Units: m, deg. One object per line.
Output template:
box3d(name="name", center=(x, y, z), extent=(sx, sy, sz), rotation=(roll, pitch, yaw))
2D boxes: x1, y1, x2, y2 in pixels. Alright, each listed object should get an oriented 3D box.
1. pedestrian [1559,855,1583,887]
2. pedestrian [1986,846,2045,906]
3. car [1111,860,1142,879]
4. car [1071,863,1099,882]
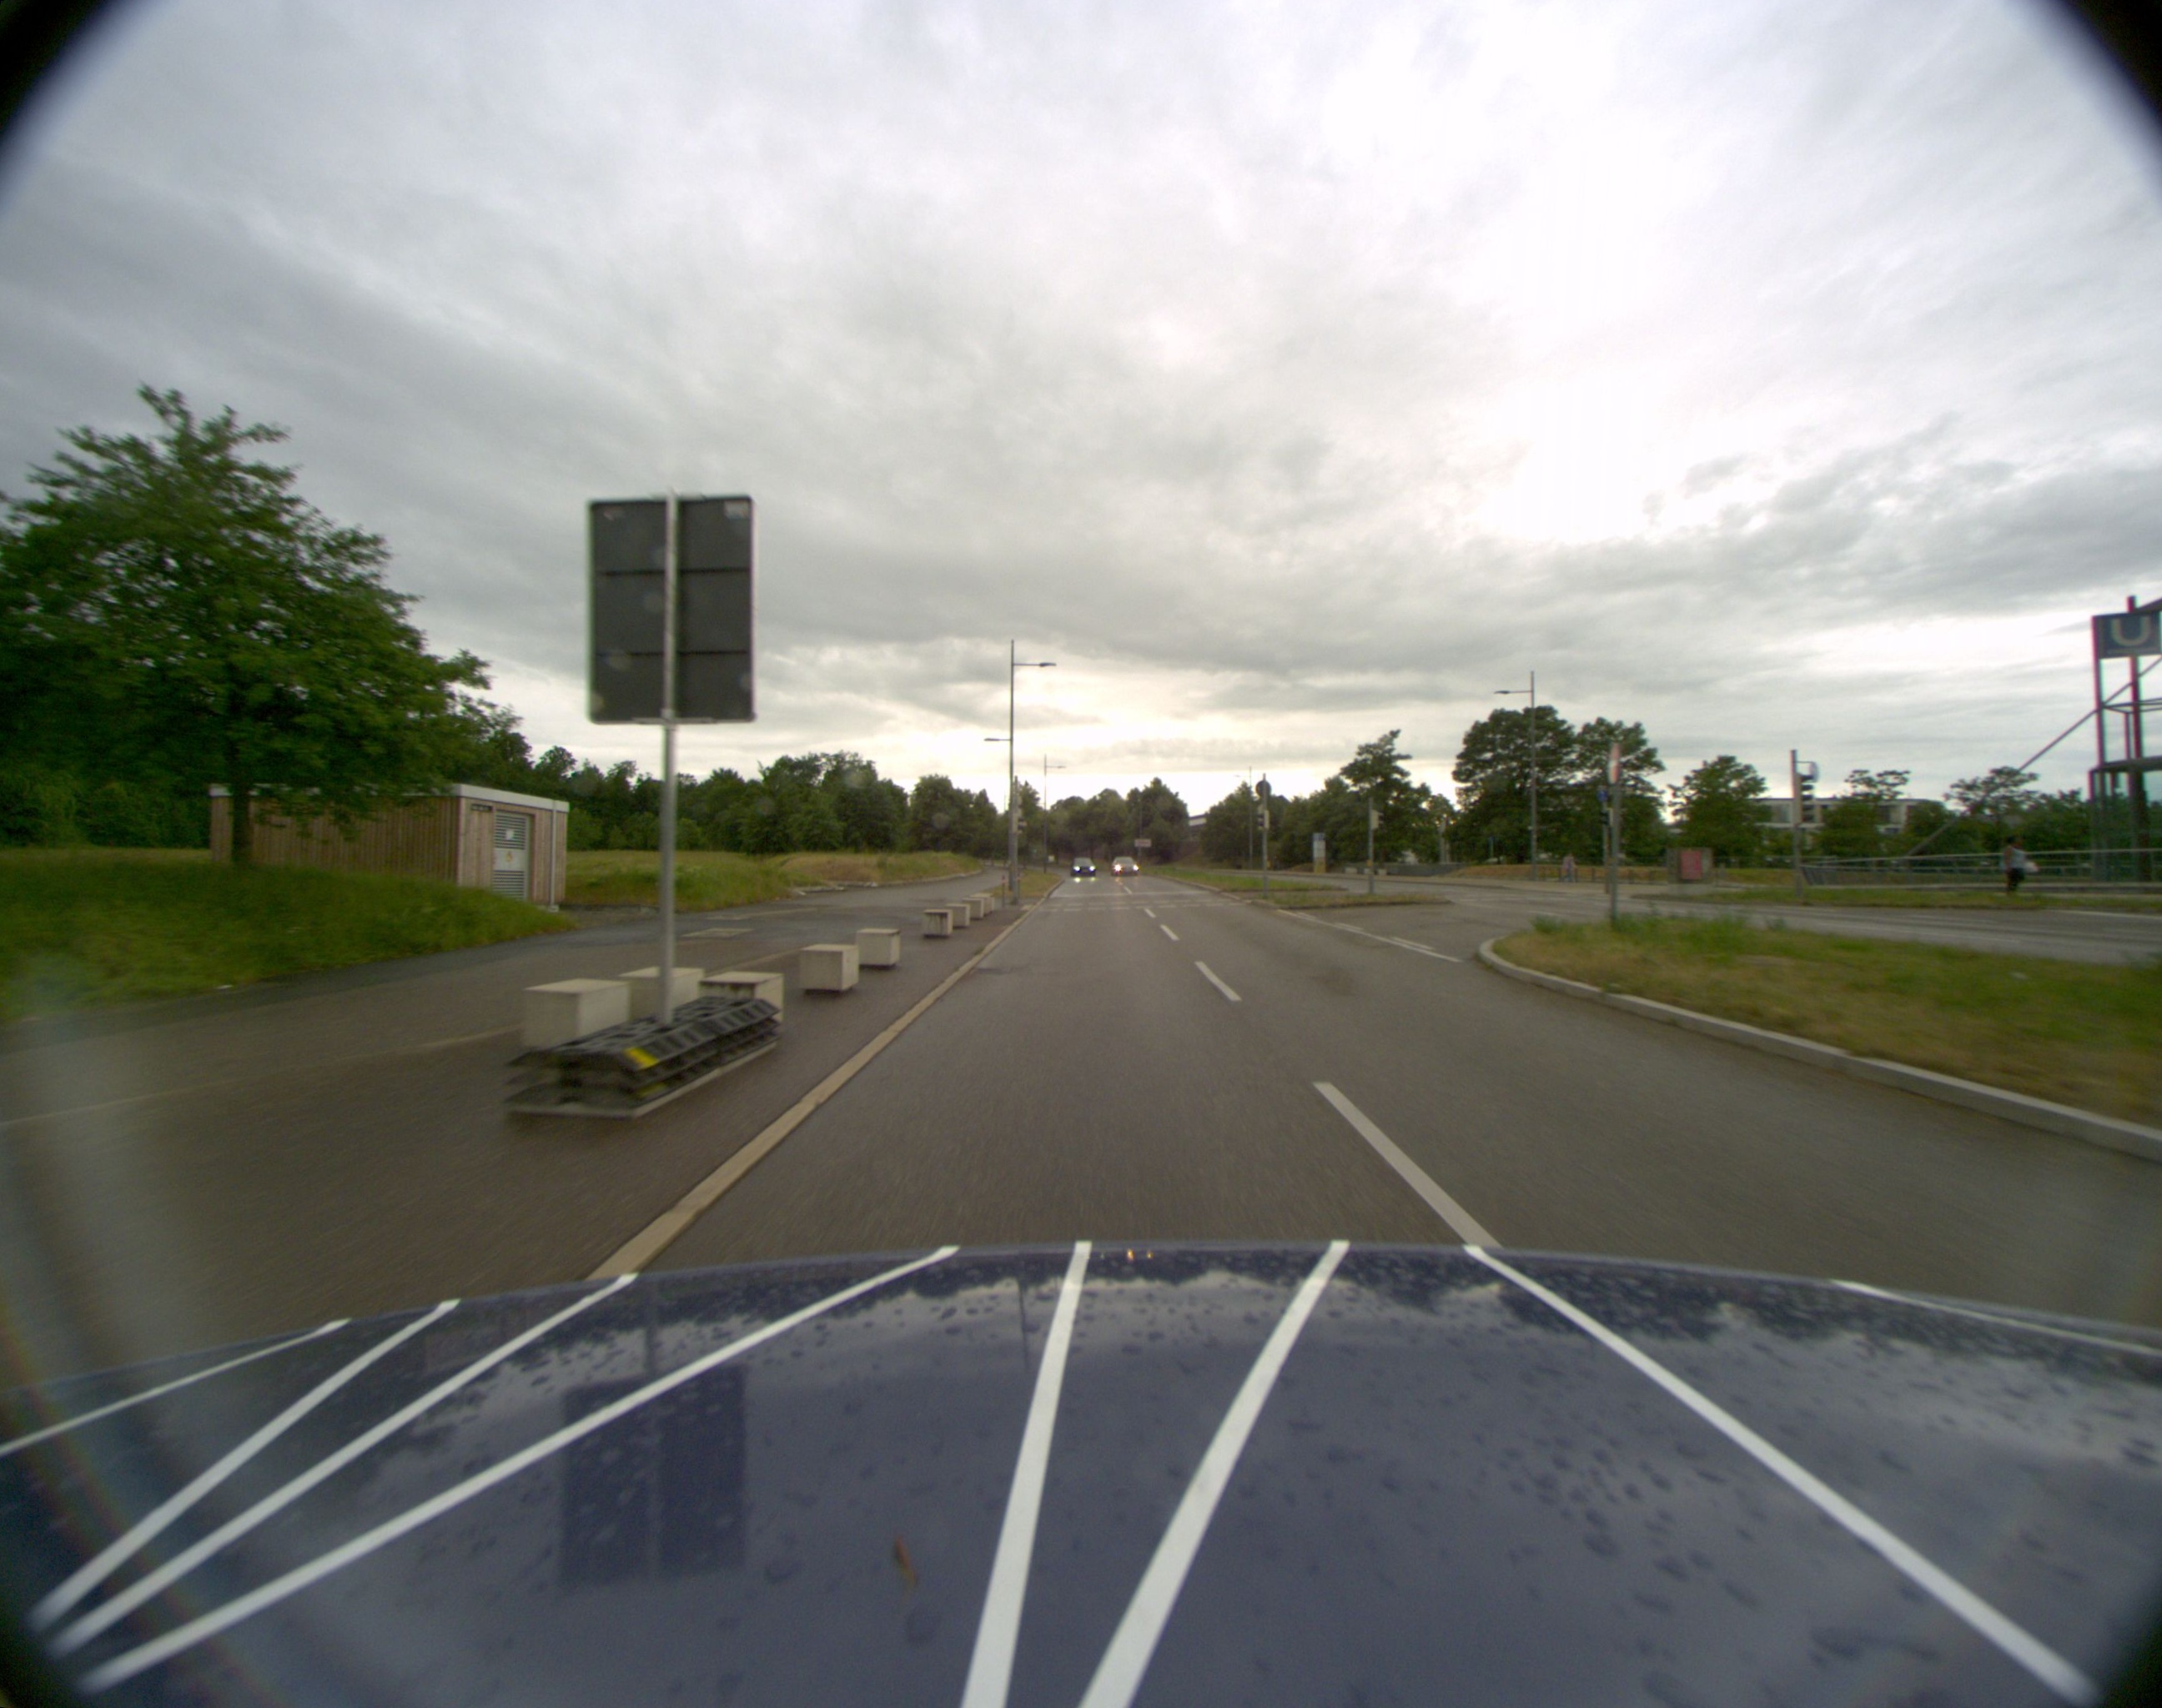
box3d(name="pedestrian", center=(25.073, 0.882, 38.887), extent=(0.616, 1.584, 0.813), rotation=(-1, -2, -4))
box3d(name="pedestrian", center=(24.994, 0.589, 20.332), extent=(0.822, 1.584, 0.673), rotation=(0, -2, -15))
box3d(name="car", center=(3.503, 1.179, 59.013), extent=(1.811, 1.421, 4.196), rotation=(-1, -1, -5))
box3d(name="car", center=(0.282, 1.470, 60.140), extent=(1.990, 1.390, 4.176), rotation=(0, -2, -4))
